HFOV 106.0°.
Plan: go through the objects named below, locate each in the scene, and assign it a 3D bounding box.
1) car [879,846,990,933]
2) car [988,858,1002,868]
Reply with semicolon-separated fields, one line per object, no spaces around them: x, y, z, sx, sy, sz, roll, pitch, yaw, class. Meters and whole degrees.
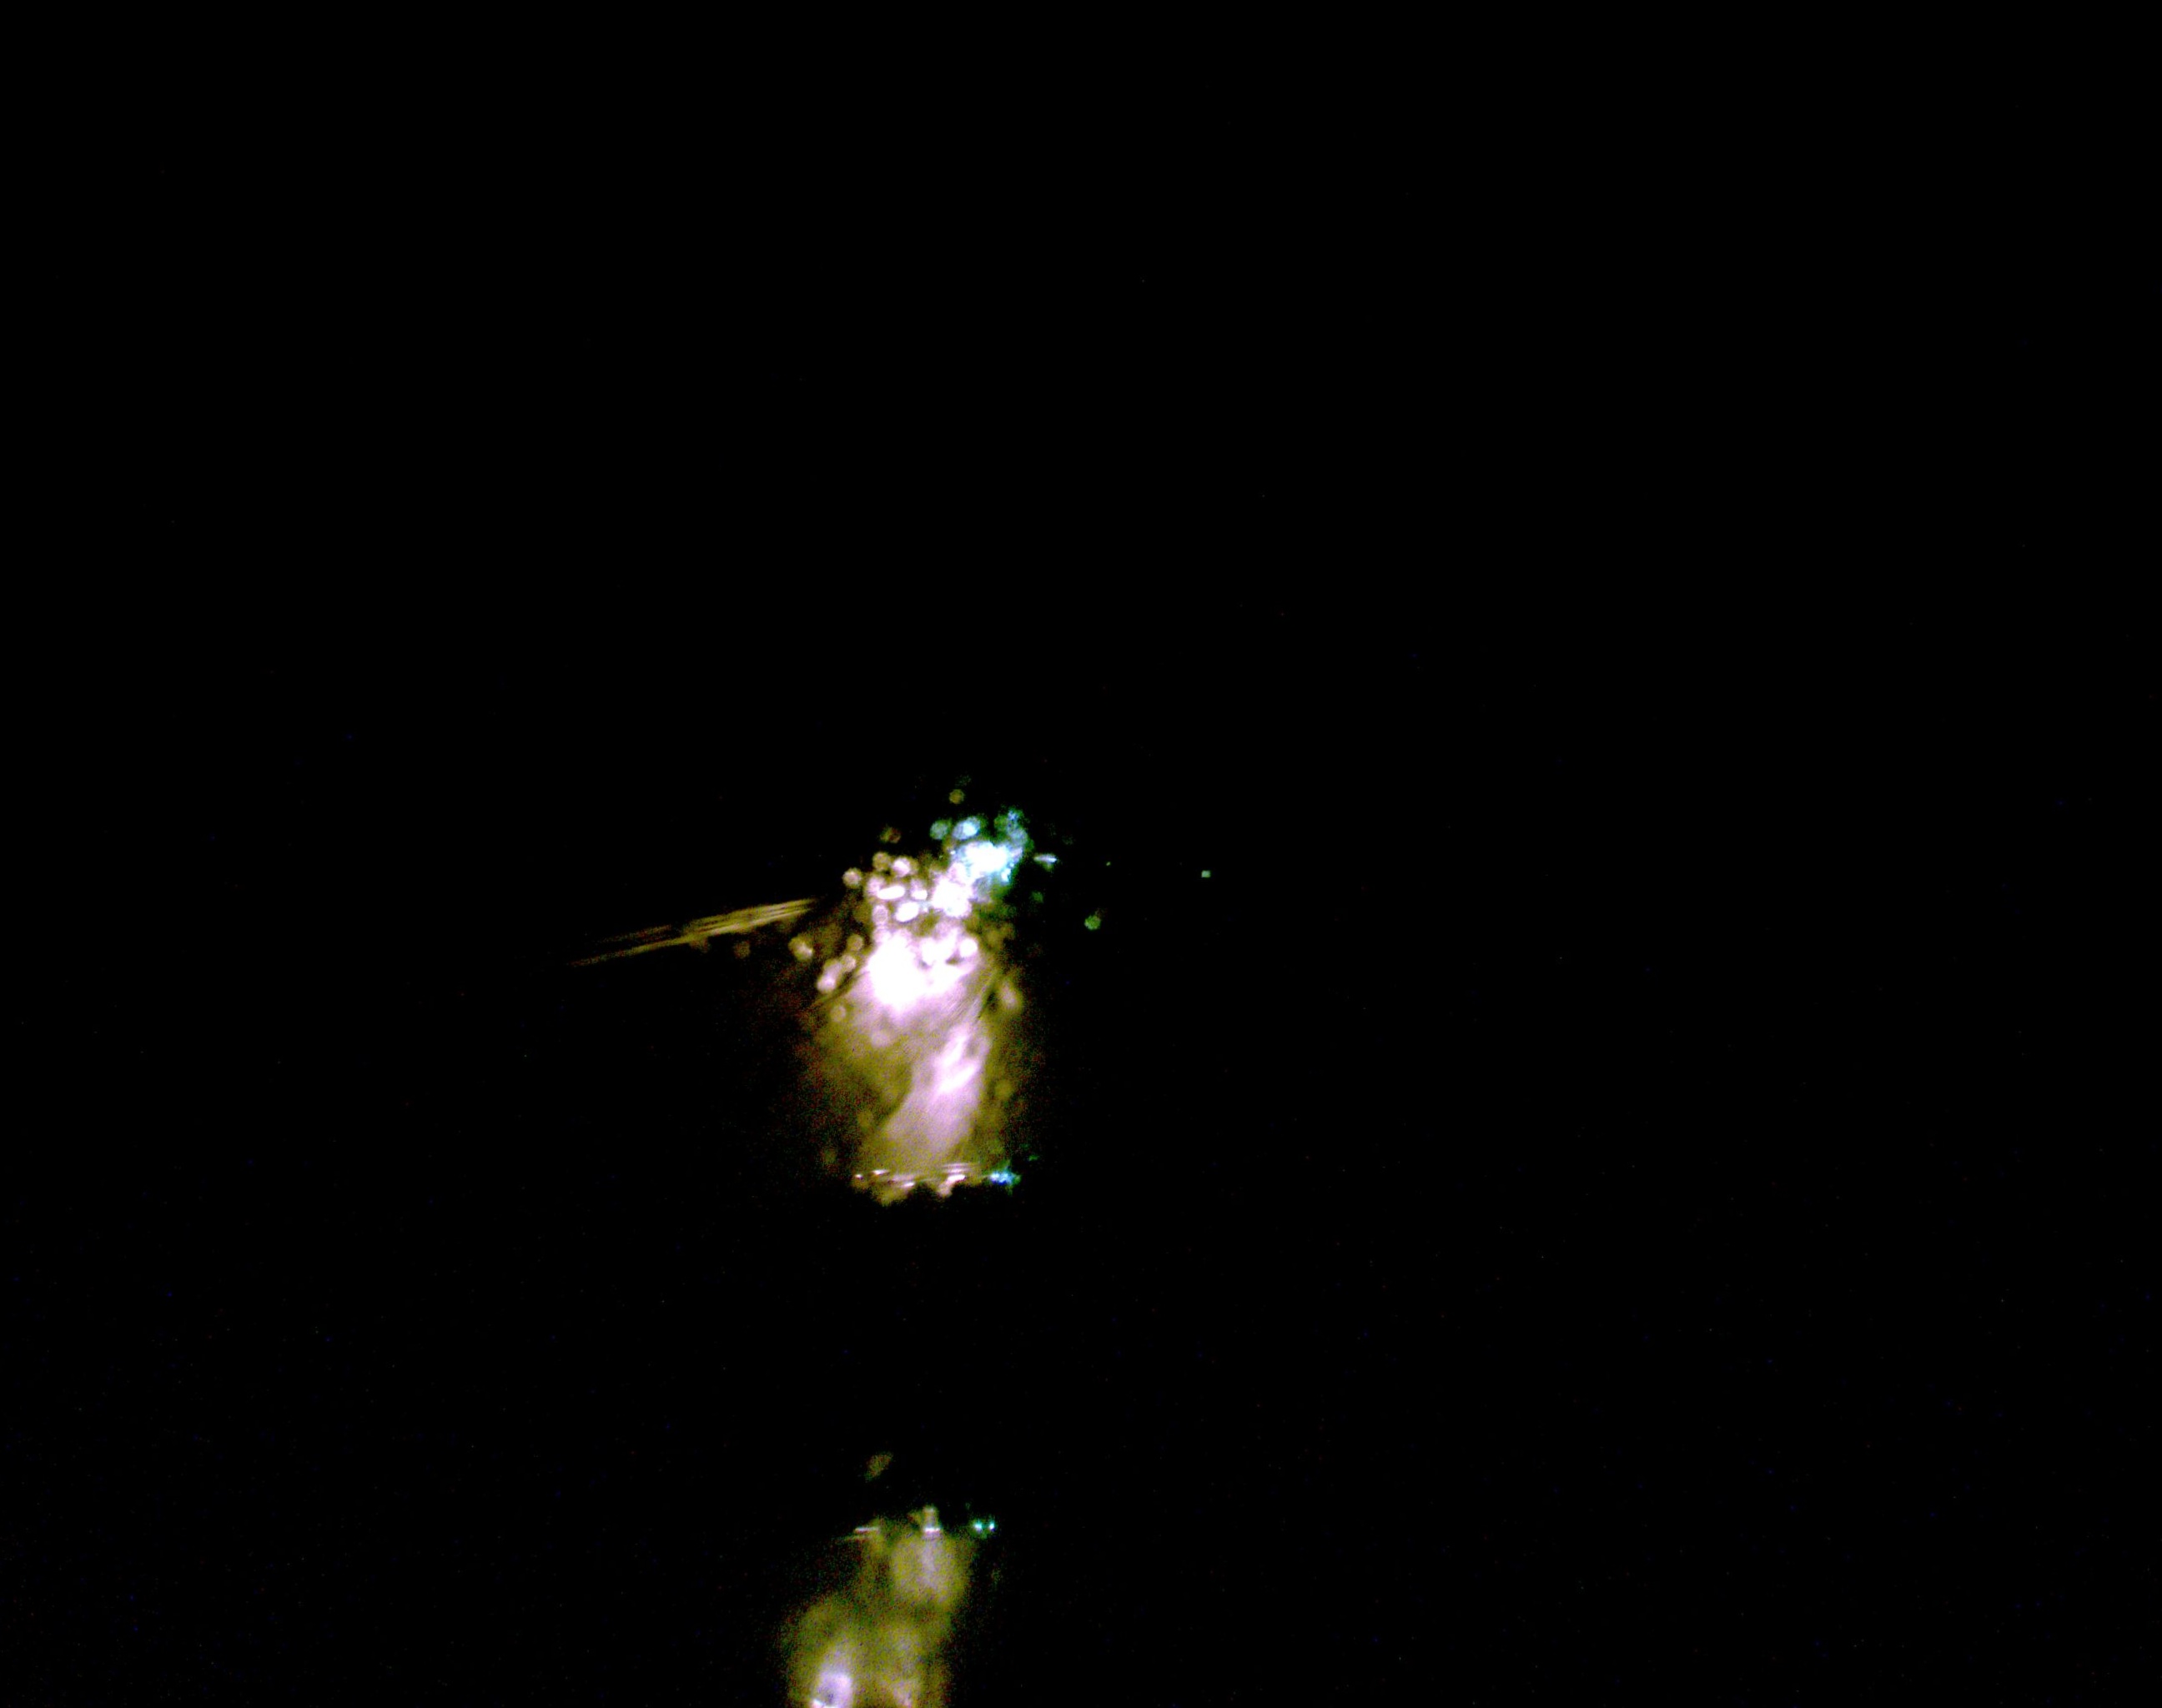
-3.465;0.821;20.039;1.987;1.926;3.999;0;-1;0;car
-12.348;1.261;117.131;1.991;1.472;3.828;0;0;-6;car
